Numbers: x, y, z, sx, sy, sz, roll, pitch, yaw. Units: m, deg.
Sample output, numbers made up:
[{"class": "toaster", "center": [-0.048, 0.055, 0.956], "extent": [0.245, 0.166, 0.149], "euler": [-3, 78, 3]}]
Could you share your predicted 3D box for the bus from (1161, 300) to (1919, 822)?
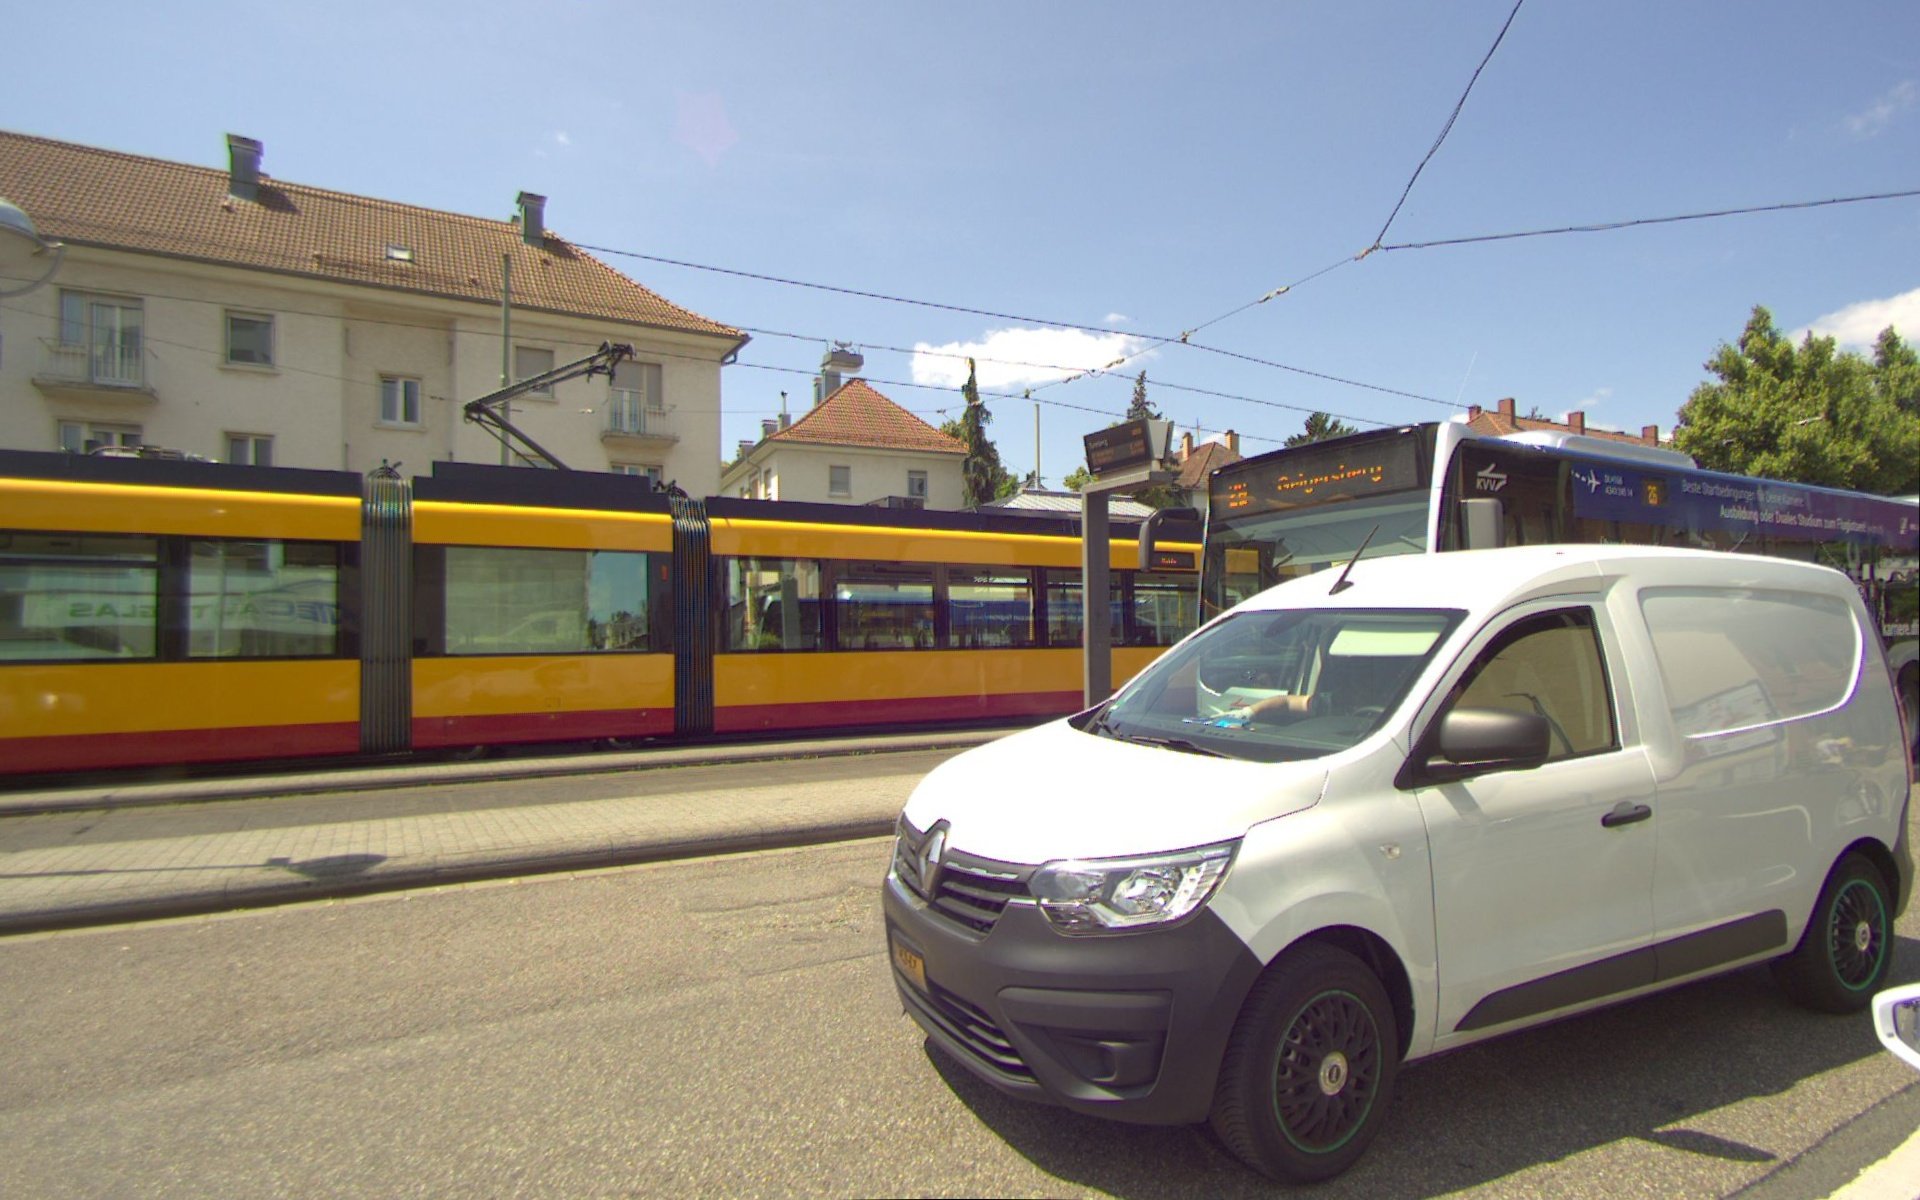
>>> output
[{"class": "bus", "center": [7.682, -0.066, 11.023], "extent": [11.904, 3.472, 2.893], "euler": [2, -1, -31]}]

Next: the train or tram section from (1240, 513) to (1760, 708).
[{"class": "train or tram section", "center": [14.125, 0.340, 24.750], "extent": [17.151, 3.691, 2.948], "euler": [1, 0, -31]}]

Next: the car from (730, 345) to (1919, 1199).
[{"class": "car", "center": [1.673, 0.526, 3.801], "extent": [4.655, 1.875, 1.696], "euler": [2, -1, -29]}]

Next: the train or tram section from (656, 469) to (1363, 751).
[{"class": "train or tram section", "center": [1.527, 0.225, 17.113], "extent": [12.511, 3.542, 2.948], "euler": [1, 0, -31]}]

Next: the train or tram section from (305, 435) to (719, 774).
[{"class": "train or tram section", "center": [-5.658, 0.136, 12.864], "extent": [4.366, 3.541, 2.949], "euler": [1, -3, -31]}]

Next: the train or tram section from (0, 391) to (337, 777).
[{"class": "train or tram section", "center": [-12.787, -0.207, 8.561], "extent": [12.566, 3.542, 2.948], "euler": [1, 0, -31]}]
